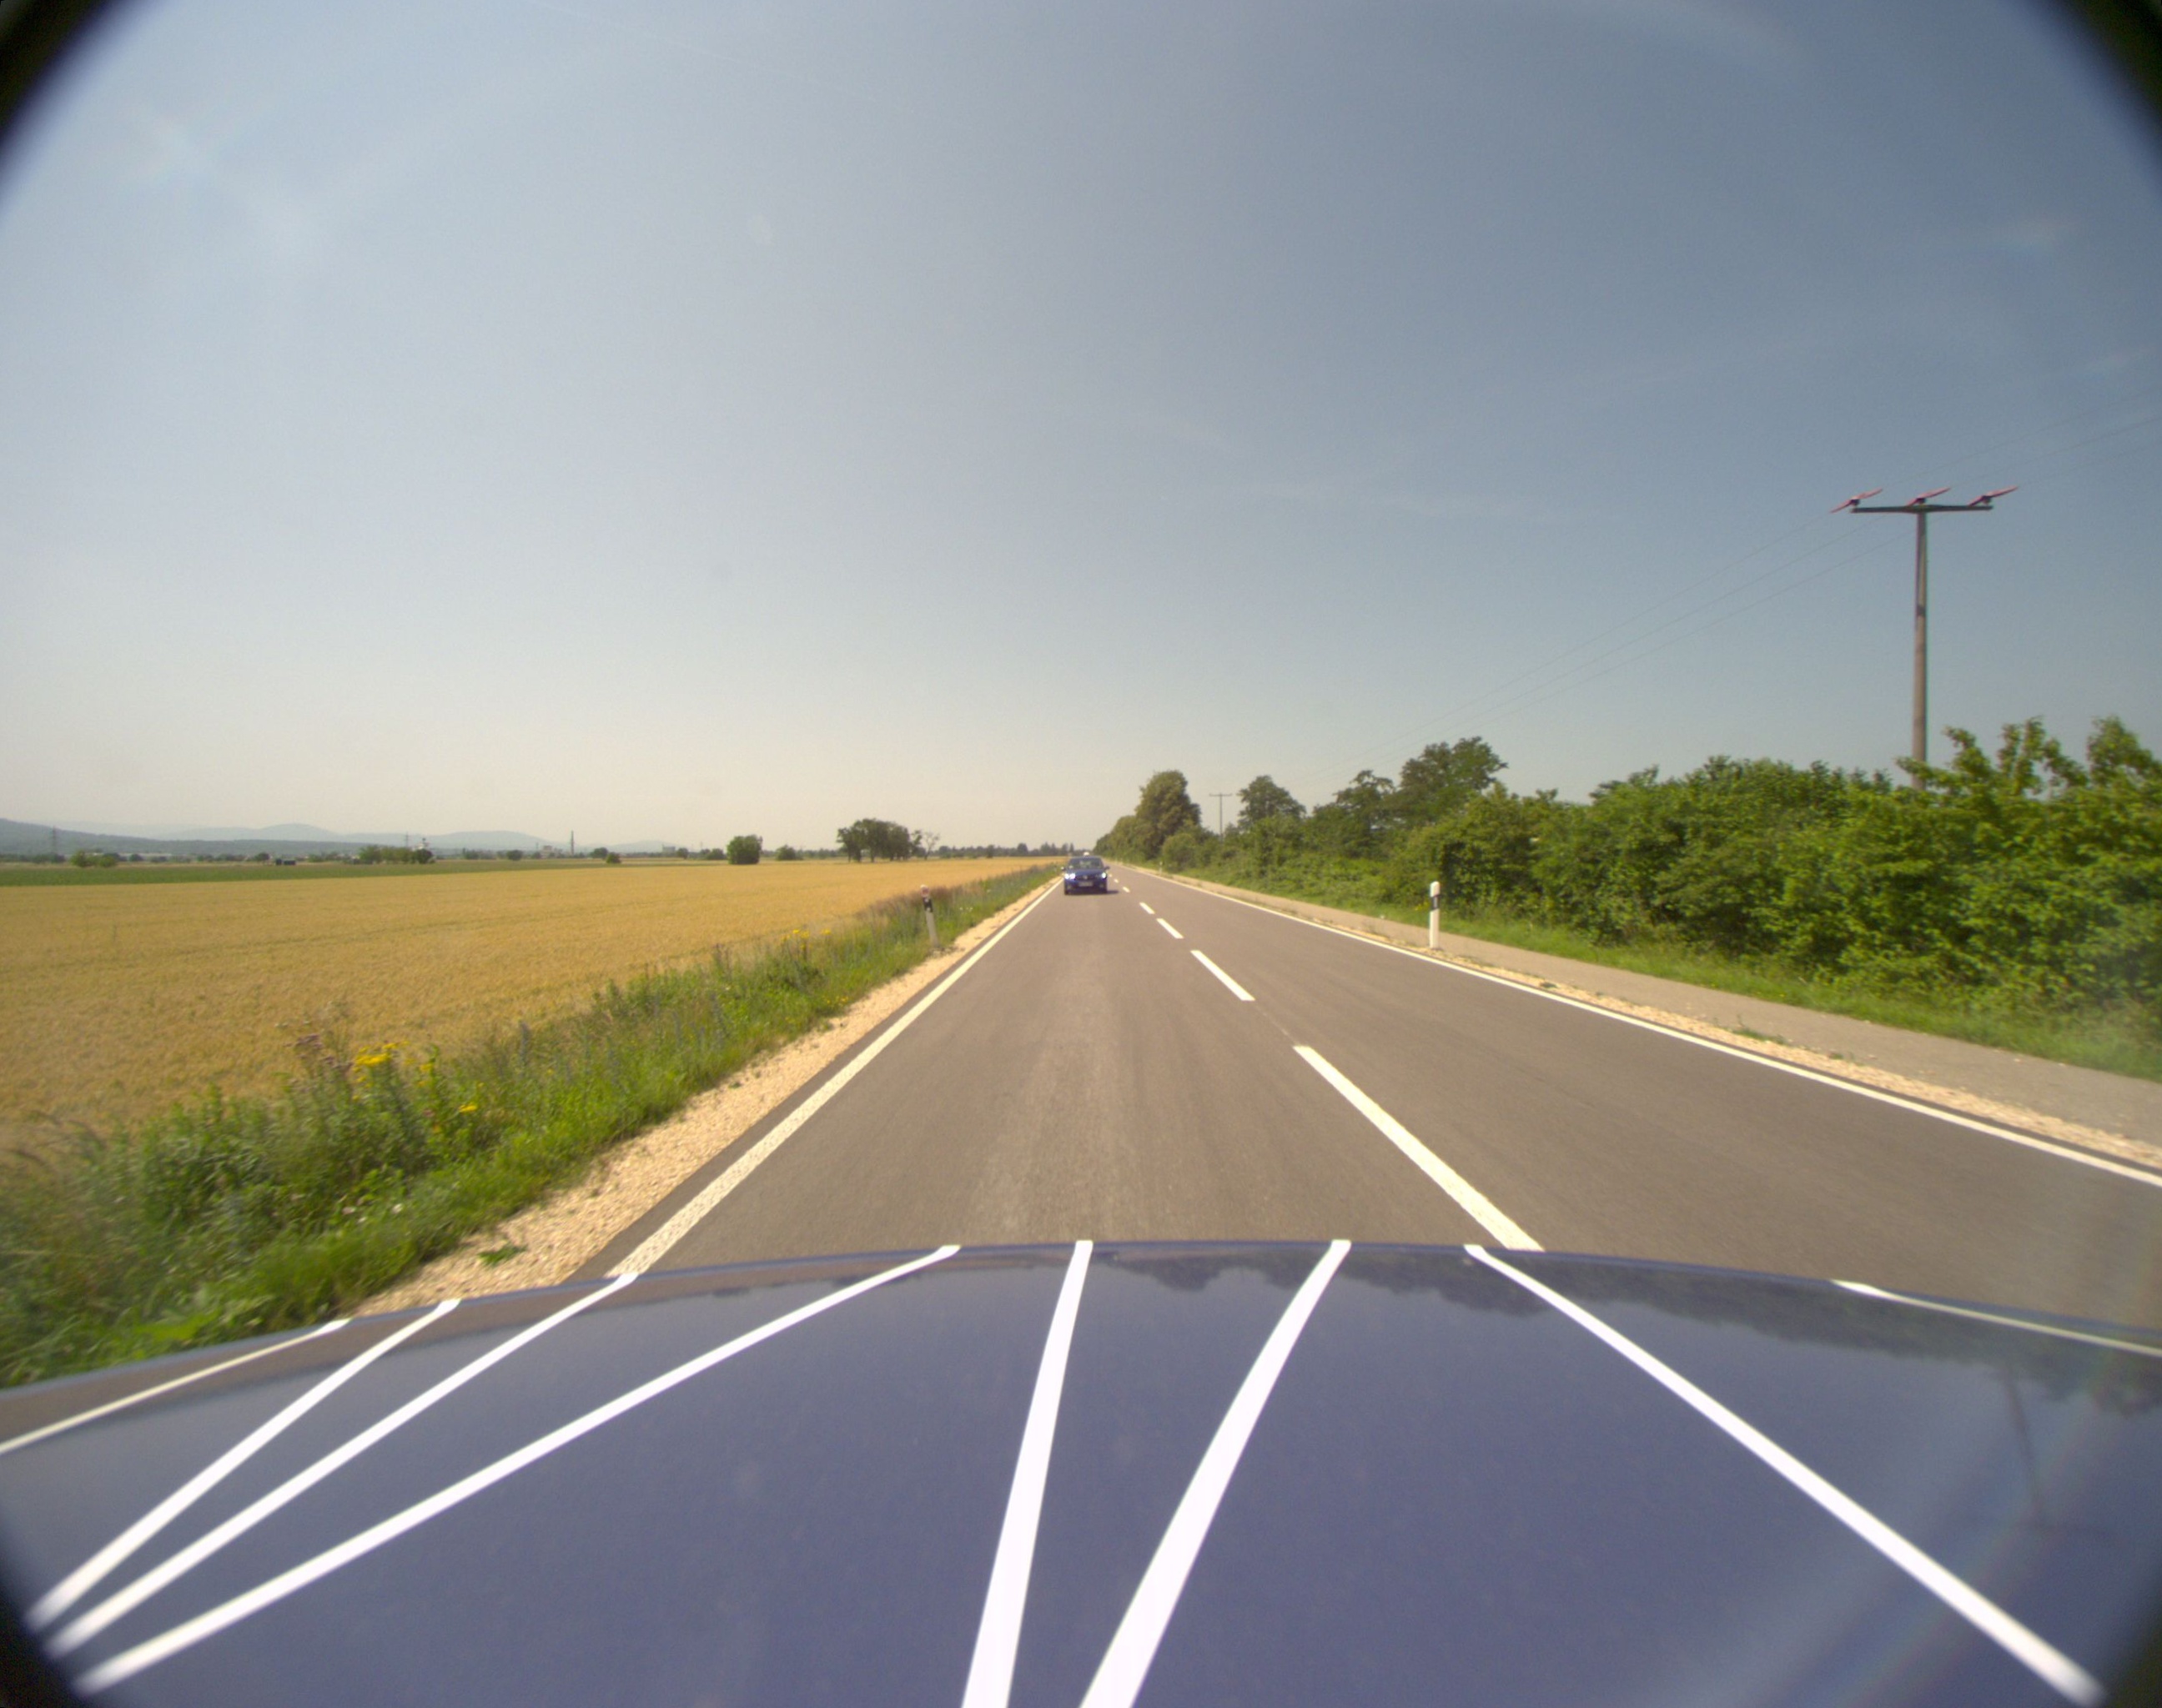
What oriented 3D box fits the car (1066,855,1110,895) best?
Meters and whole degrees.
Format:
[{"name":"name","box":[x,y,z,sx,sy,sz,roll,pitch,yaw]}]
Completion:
[{"name":"car","box":[0.287,0.817,31.665,1.662,1.508,4.000,-2,0,0]}]
